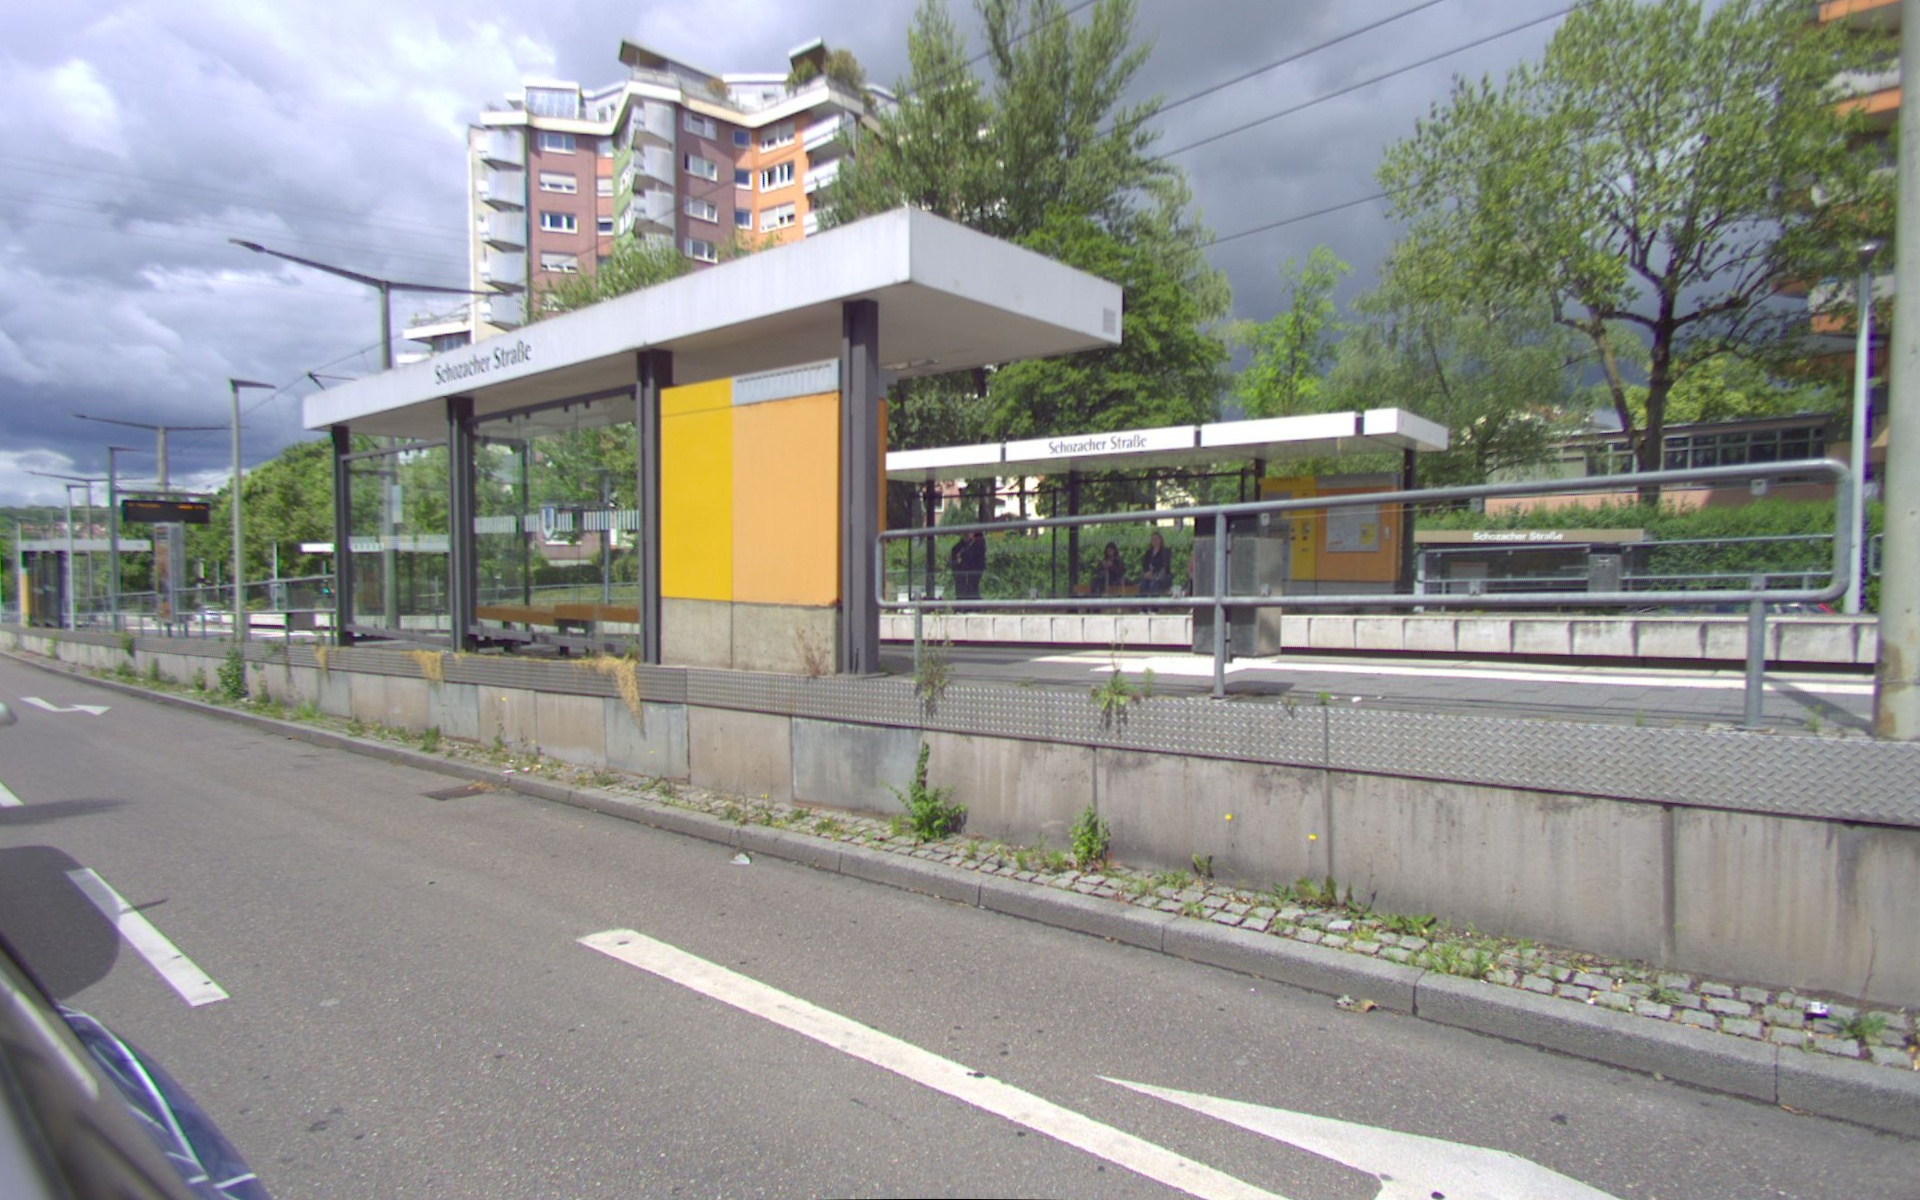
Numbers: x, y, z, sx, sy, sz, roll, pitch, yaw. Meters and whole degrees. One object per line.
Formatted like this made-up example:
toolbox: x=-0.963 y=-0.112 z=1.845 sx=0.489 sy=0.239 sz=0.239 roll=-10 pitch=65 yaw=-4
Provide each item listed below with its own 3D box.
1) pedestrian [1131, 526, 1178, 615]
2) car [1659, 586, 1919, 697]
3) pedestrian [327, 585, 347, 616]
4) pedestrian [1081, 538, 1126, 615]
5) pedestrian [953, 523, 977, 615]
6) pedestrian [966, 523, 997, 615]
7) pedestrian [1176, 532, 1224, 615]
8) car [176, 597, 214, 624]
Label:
pedestrian: x=3.204 y=-0.478 z=16.690 sx=0.463 sy=1.428 sz=0.704 roll=-1 pitch=0 yaw=40
car: x=12.121 y=0.531 z=14.014 sx=3.863 sy=1.415 sz=1.562 roll=-1 pitch=0 yaw=41
pedestrian: x=-26.470 y=0.029 z=42.992 sx=0.560 sy=1.287 sz=0.530 roll=-1 pitch=0 yaw=36
pedestrian: x=2.489 y=-0.398 z=17.491 sx=0.463 sy=1.287 sz=0.704 roll=-1 pitch=0 yaw=40
pedestrian: x=0.087 y=-0.578 z=19.114 sx=0.421 sy=1.726 sz=0.353 roll=-1 pitch=0 yaw=-1
pedestrian: x=0.397 y=-0.580 z=19.131 sx=0.544 sy=1.726 sz=0.386 roll=-1 pitch=0 yaw=-2
pedestrian: x=3.828 y=-0.415 z=16.137 sx=0.463 sy=1.287 sz=0.704 roll=-1 pitch=0 yaw=40
car: x=-60.460 y=0.836 z=80.002 sx=4.000 sy=2.029 sz=1.714 roll=-1 pitch=0 yaw=43
